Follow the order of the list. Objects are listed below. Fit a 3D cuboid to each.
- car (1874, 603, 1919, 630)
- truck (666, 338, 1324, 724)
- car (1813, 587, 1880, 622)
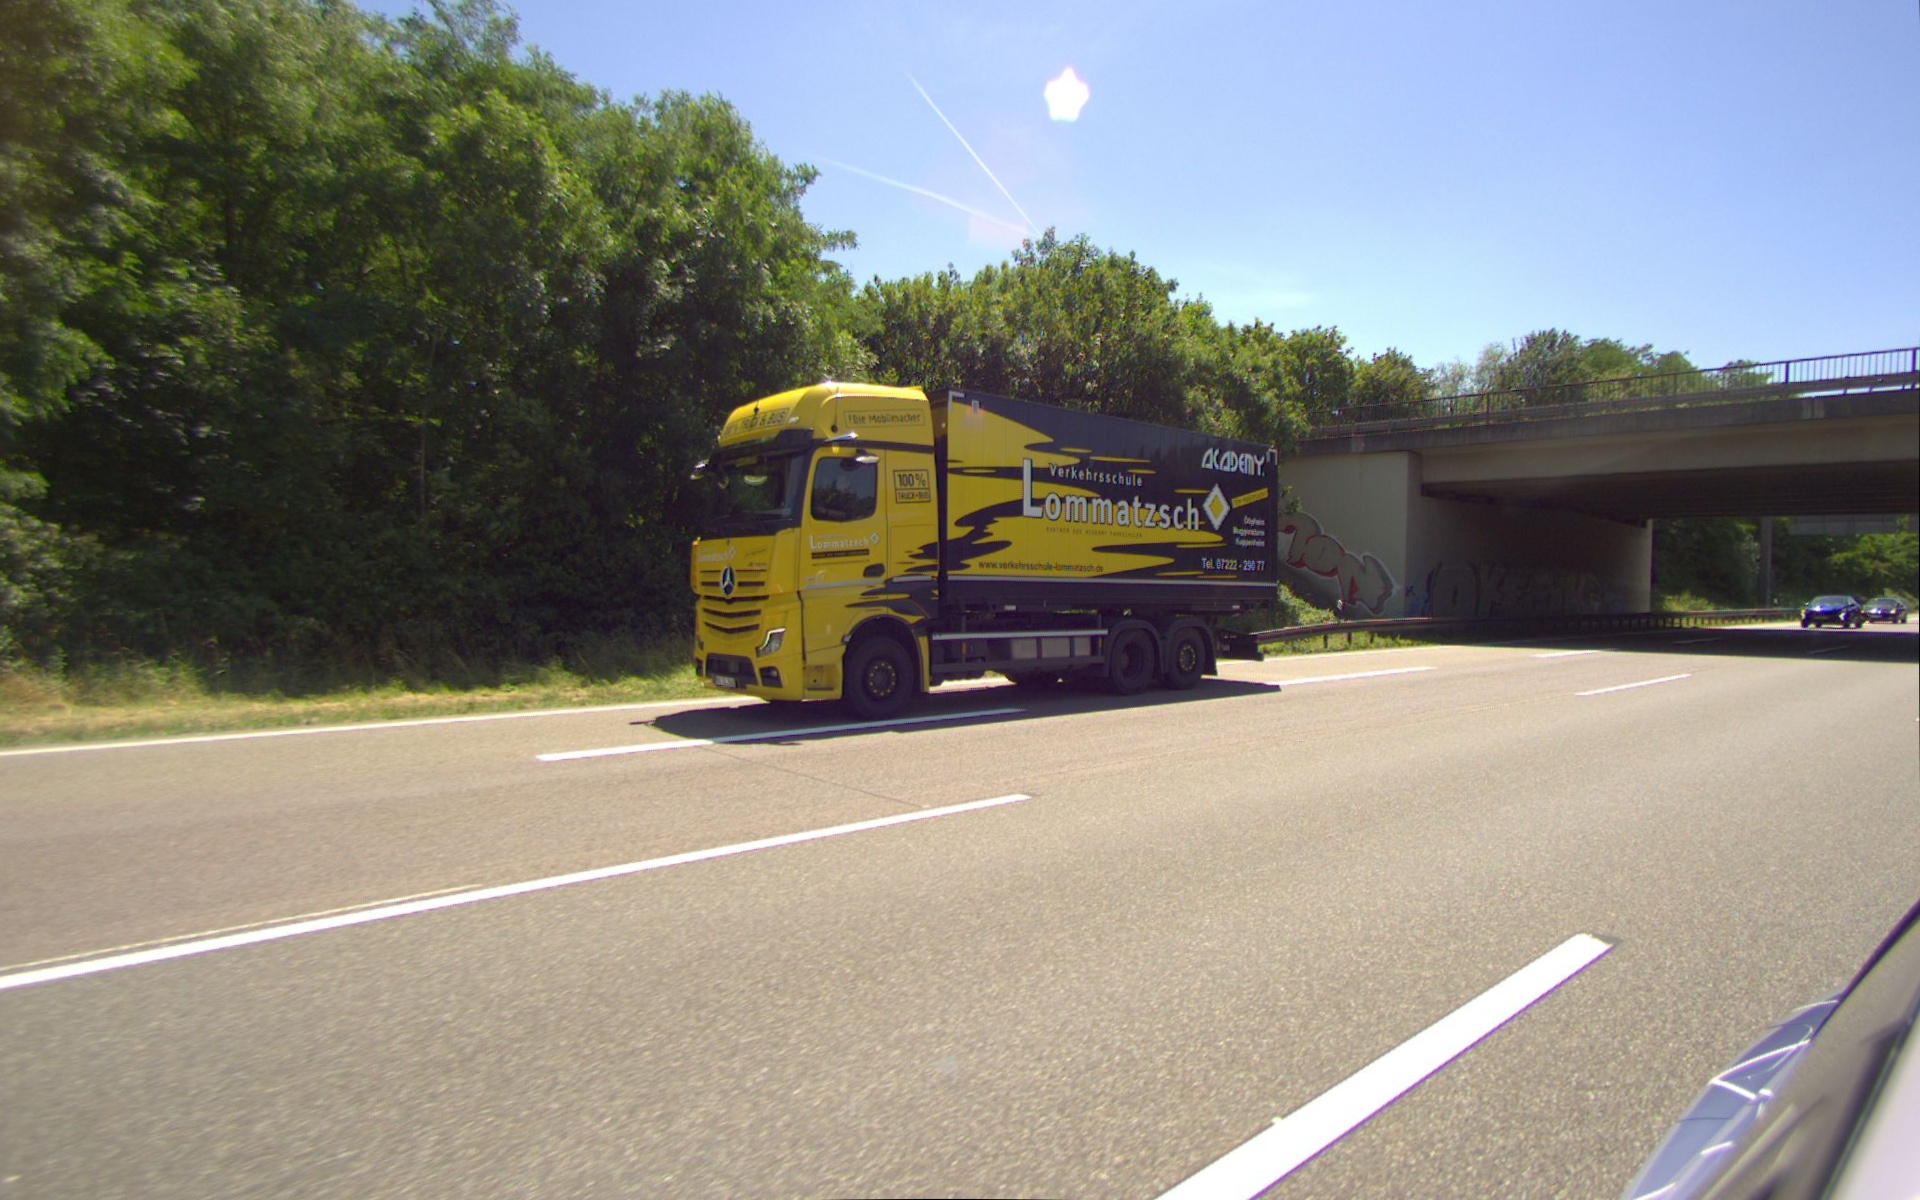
[{"bbox_3d":[54.167,0.915,58.319,4.494,1.465,1.673,-1,1,-41],"label":"car"},{"bbox_3d":[1.287,-0.778,15.353,10.788,4.088,2.980,-1,0,-40],"label":"truck"},{"bbox_3d":[42.828,0.181,48.881,4.128,1.575,1.873,-1,1,-41],"label":"car"}]
